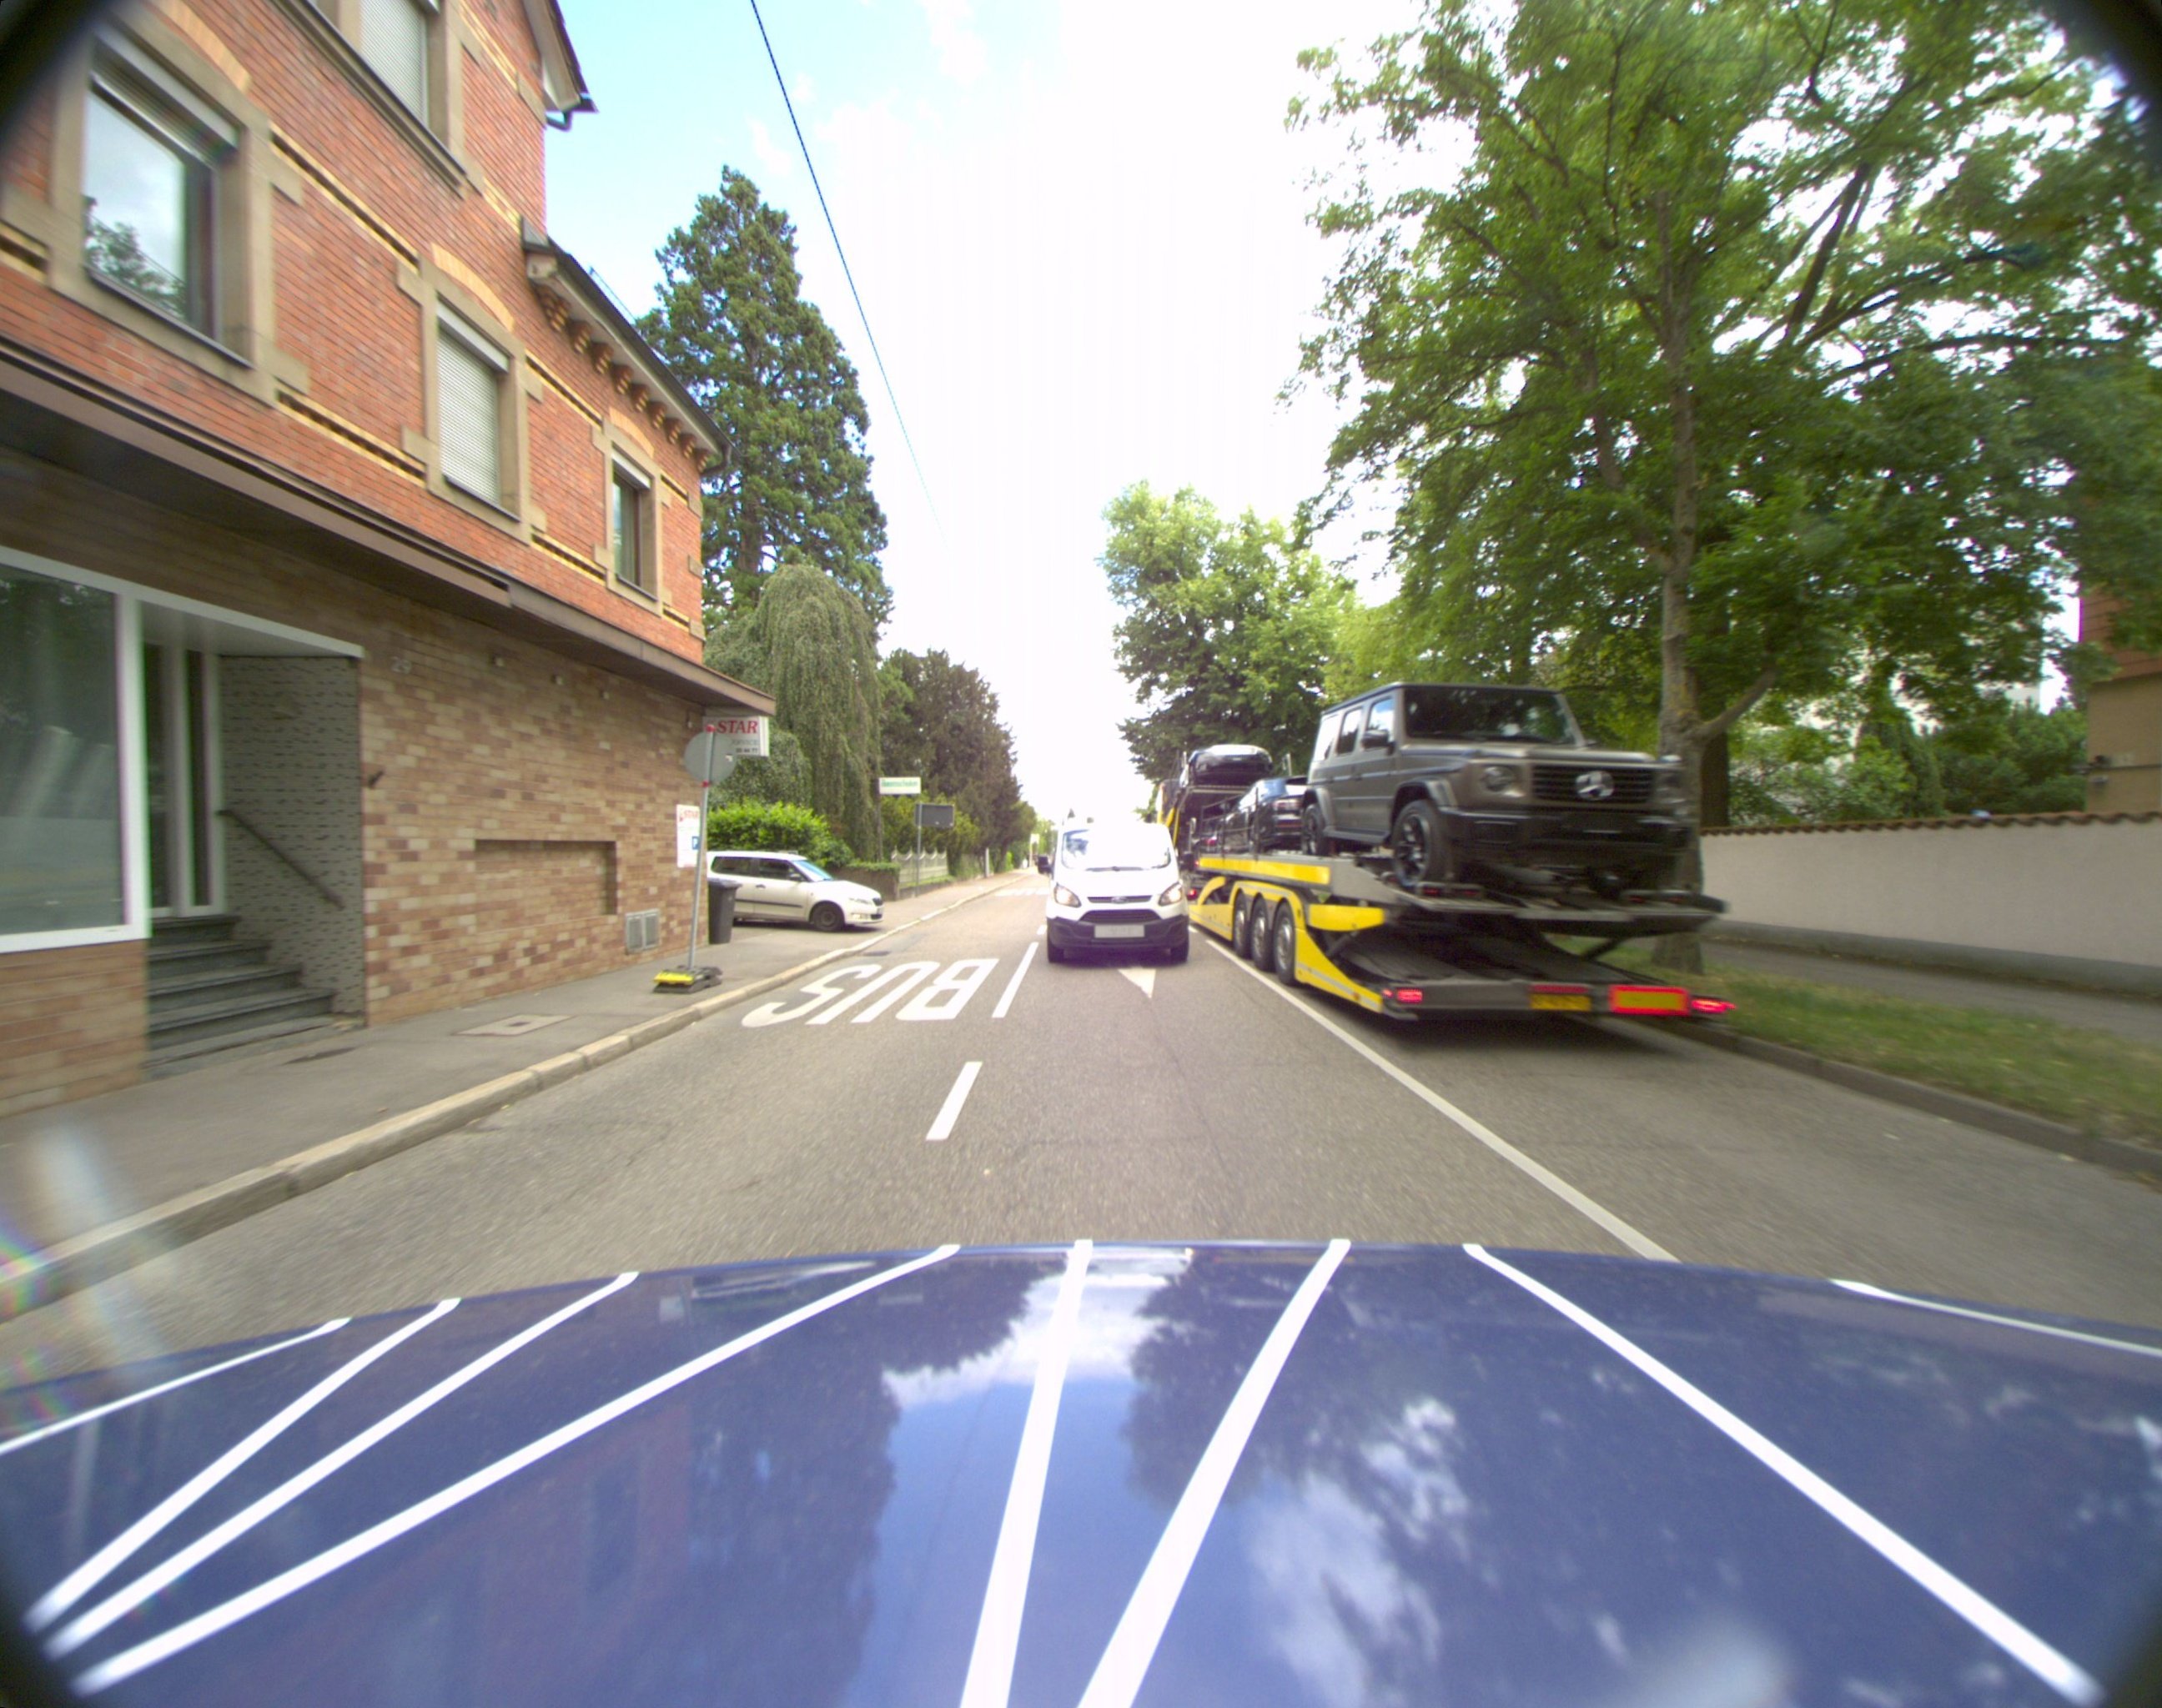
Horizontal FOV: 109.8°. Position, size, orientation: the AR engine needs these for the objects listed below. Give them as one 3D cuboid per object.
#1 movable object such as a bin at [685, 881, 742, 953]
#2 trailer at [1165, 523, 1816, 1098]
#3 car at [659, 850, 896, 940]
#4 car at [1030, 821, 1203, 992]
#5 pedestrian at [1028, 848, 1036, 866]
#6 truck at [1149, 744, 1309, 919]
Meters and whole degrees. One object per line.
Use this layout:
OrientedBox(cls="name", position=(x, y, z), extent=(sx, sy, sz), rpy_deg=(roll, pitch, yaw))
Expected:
OrientedBox(cls="movable object such as a bin", position=(-5.927, 1.000, 12.272), extent=(0.608, 1.094, 0.622), rpy_deg=(1, 1, 1))
OrientedBox(cls="trailer", position=(3.562, -0.398, 12.302), extent=(2.865, 3.786, 14.388), rpy_deg=(-2, 1, 1))
OrientedBox(cls="car", position=(-5.963, 0.779, 15.255), extent=(4.039, 1.462, 1.600), rpy_deg=(3, 1, -2))
OrientedBox(cls="car", position=(0.385, 0.575, 11.838), extent=(1.999, 1.961, 5.713), rpy_deg=(-2, 1, -1))
OrientedBox(cls="pedestrian", position=(-4.957, 0.283, 77.250), extent=(0.488, 1.757, 0.672), rpy_deg=(-1, 2, 32))
OrientedBox(cls="truck", position=(3.601, -0.553, 20.489), extent=(2.851, 3.761, 7.668), rpy_deg=(-2, 1, 1))
